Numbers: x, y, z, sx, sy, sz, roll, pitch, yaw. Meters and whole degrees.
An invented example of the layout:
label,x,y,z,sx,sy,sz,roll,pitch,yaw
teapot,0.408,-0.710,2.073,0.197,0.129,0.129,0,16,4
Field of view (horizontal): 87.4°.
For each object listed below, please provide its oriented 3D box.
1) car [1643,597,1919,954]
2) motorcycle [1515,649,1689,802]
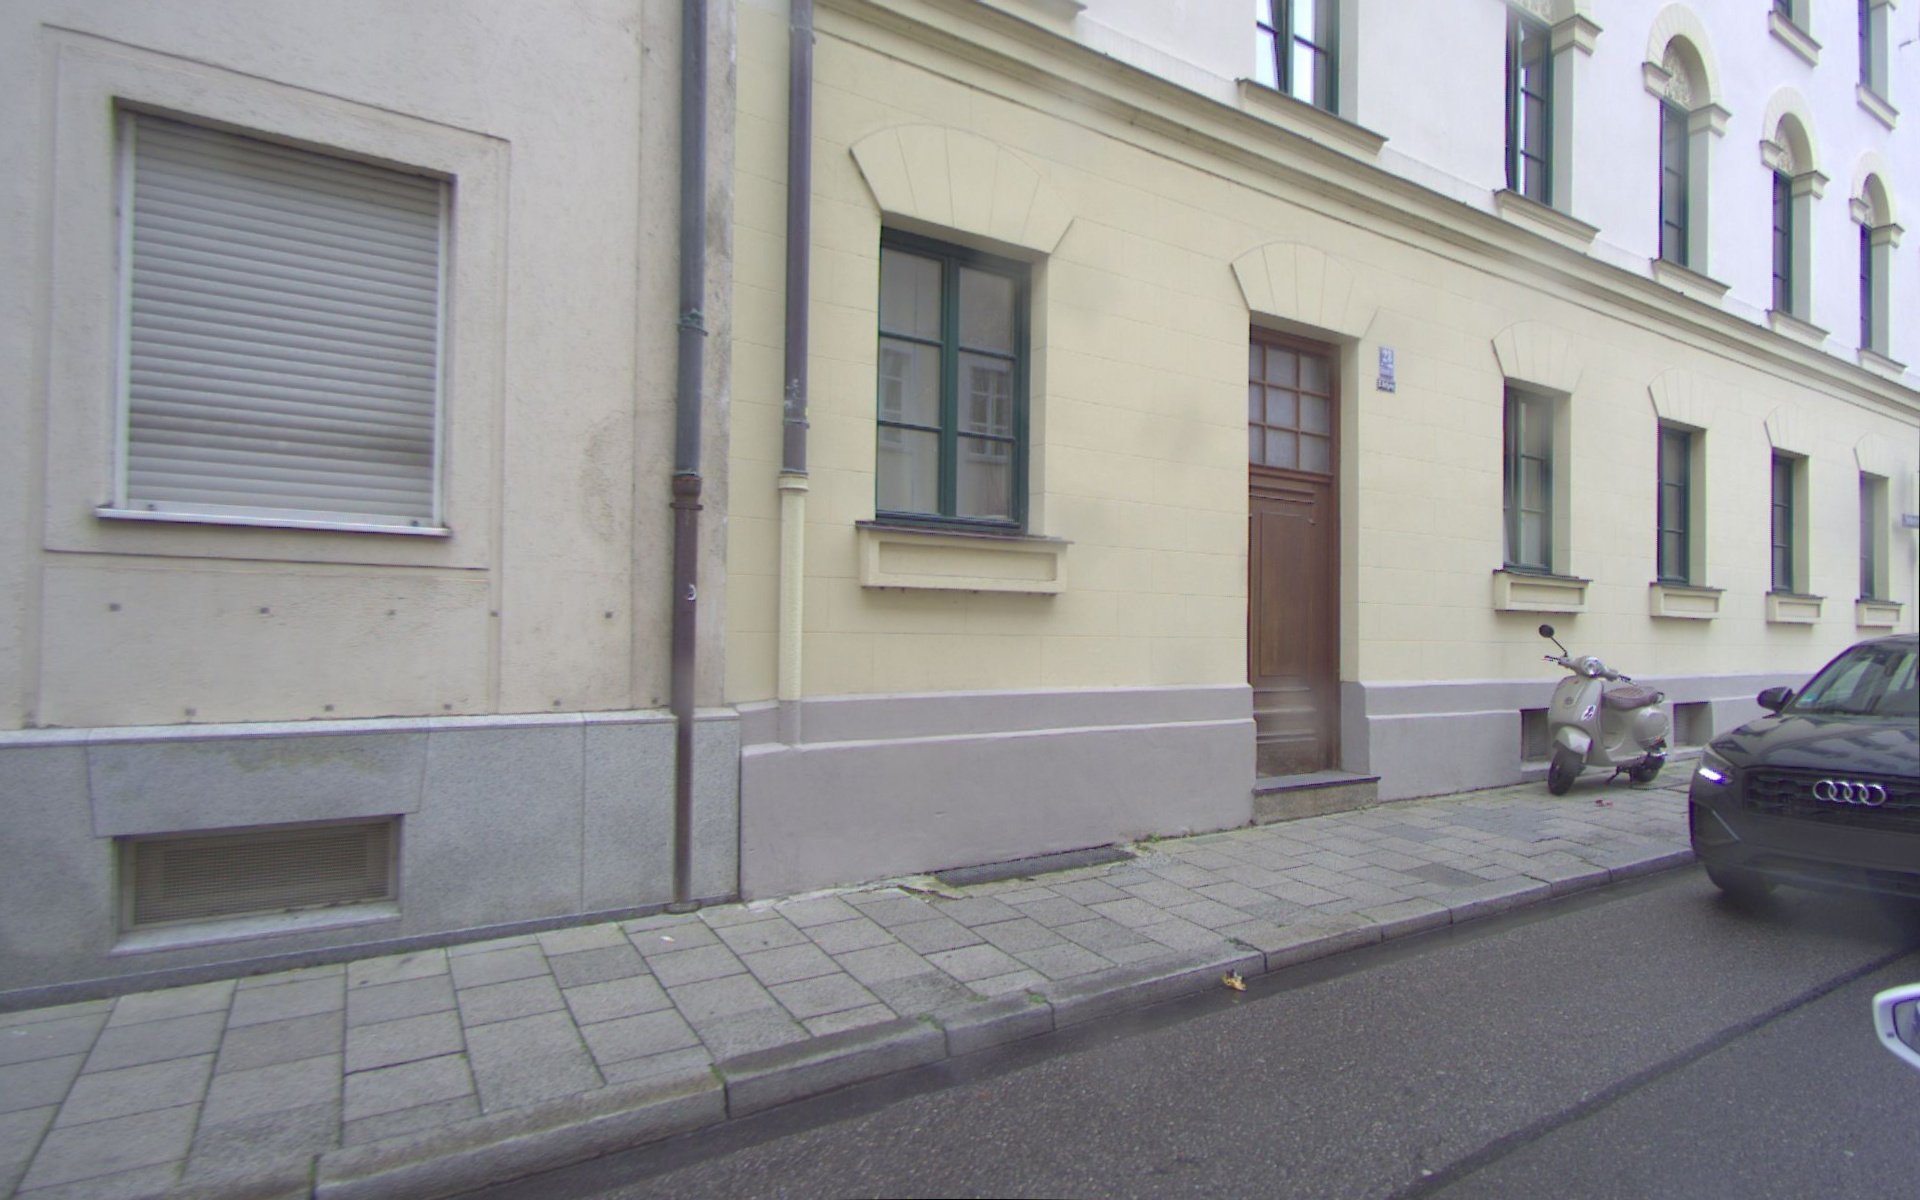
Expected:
label,x,y,z,sx,sy,sz,roll,pitch,yaw
car,5.935,0.836,5.762,3.952,1.615,1.804,1,-1,-30
motorcycle,5.575,1.032,8.695,1.689,1.189,0.599,1,-1,-32
